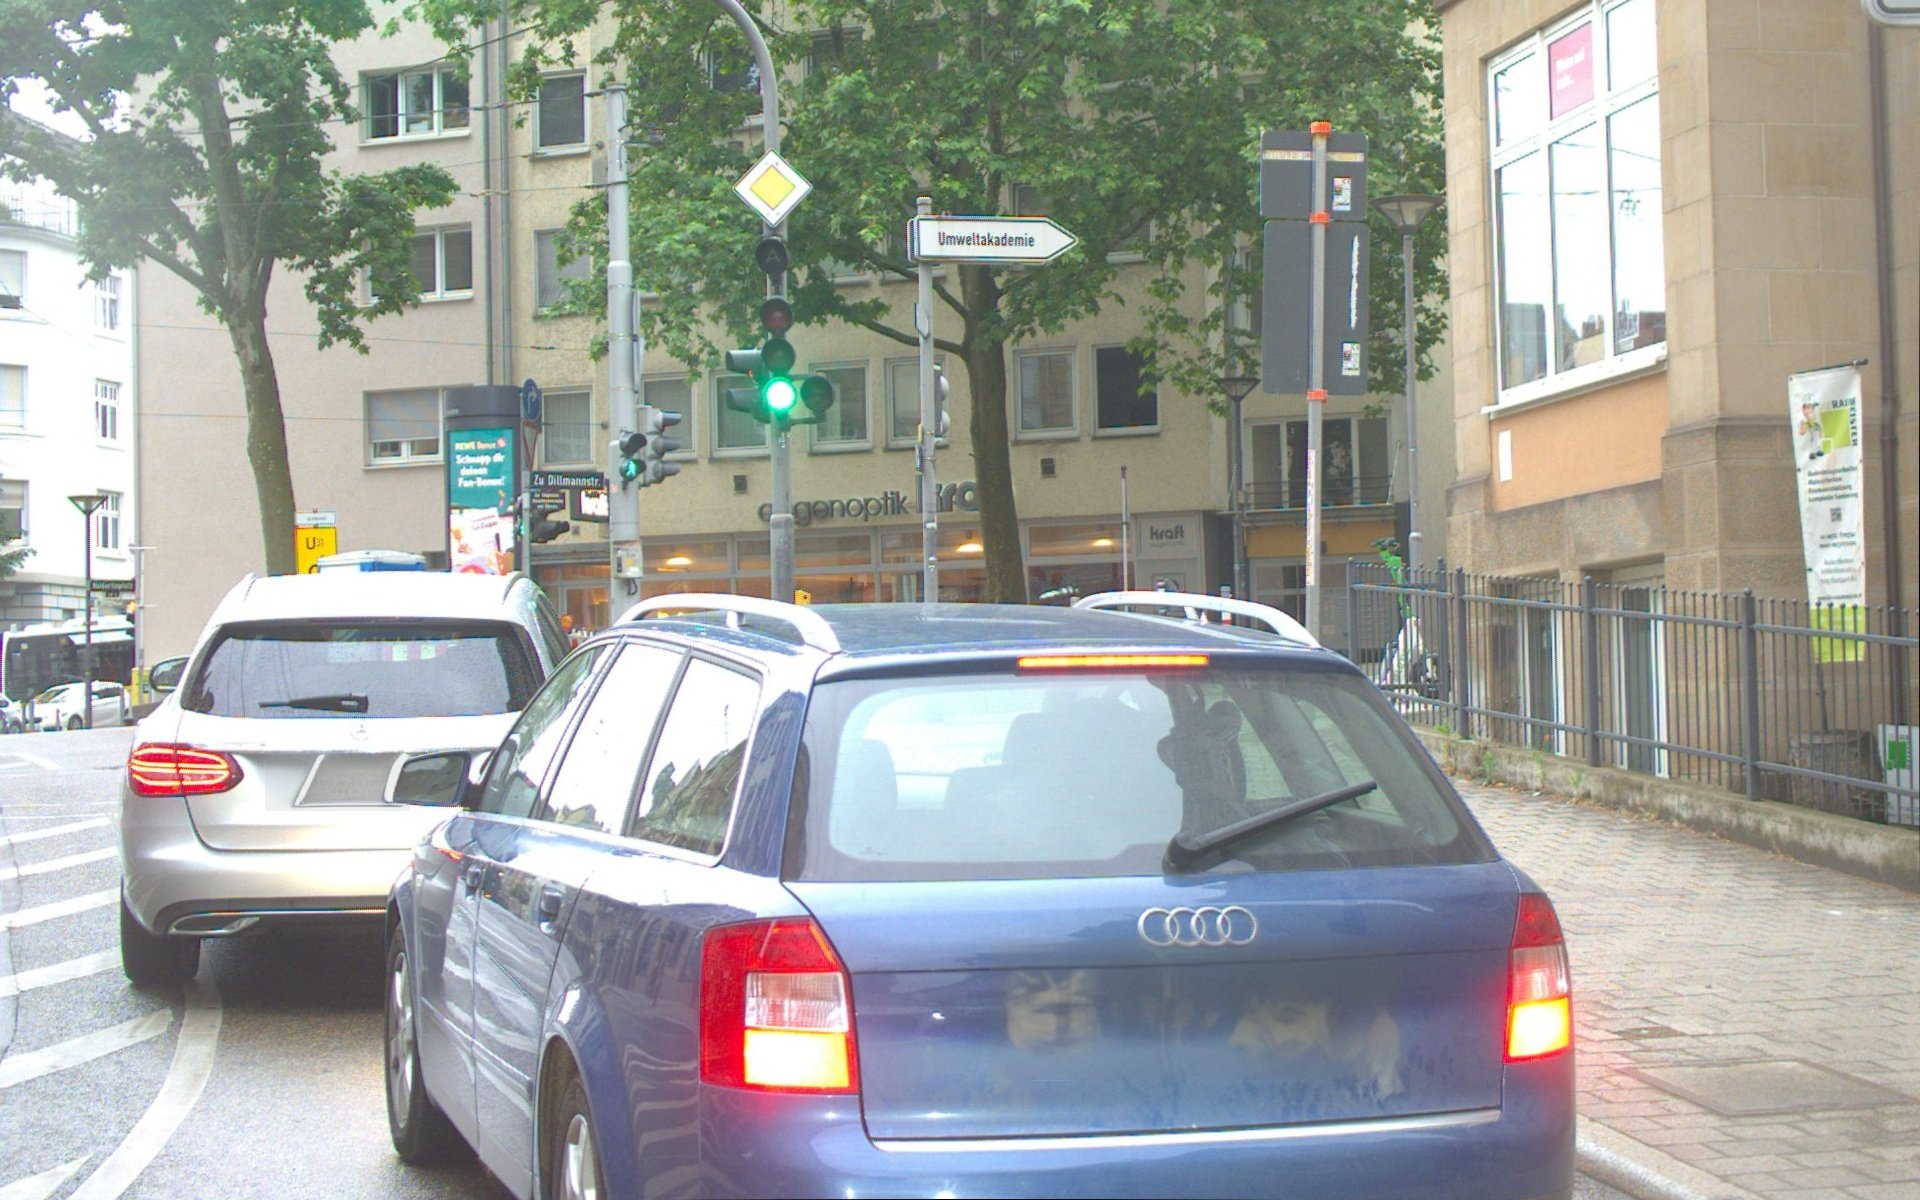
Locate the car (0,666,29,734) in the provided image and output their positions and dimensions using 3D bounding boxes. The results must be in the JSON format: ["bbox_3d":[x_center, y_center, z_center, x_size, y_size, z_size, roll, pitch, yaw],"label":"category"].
[{"bbox_3d":[-24.496,2.502,83.399,1.796,1.609,3.997,-1,1,17],"label":"car"}]

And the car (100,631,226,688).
[{"bbox_3d":[-23.411,1.739,101.117,1.796,1.505,3.997,-1,1,17],"label":"car"}]

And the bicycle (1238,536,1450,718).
[{"bbox_3d":[2.647,0.178,23.726,1.300,1.169,0.526,-3,1,-12],"label":"bicycle"}]

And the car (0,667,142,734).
[{"bbox_3d":[-22.874,2.574,88.313,1.796,1.505,3.997,-1,1,17],"label":"car"}]

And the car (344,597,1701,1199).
[{"bbox_3d":[-0.203,0.737,7.243,1.710,1.410,4.037,0,1,-17],"label":"car"}]

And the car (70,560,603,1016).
[{"bbox_3d":[-2.263,0.586,12.984,1.710,1.451,3.554,0,1,-8],"label":"car"}]

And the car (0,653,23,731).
[{"bbox_3d":[-19.962,1.906,67.957,1.794,1.505,4.000,-4,1,-1],"label":"car"}]

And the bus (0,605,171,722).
[{"bbox_3d":[-25.034,1.696,94.438,2.856,2.851,8.728,-1,1,14],"label":"bus"}]
